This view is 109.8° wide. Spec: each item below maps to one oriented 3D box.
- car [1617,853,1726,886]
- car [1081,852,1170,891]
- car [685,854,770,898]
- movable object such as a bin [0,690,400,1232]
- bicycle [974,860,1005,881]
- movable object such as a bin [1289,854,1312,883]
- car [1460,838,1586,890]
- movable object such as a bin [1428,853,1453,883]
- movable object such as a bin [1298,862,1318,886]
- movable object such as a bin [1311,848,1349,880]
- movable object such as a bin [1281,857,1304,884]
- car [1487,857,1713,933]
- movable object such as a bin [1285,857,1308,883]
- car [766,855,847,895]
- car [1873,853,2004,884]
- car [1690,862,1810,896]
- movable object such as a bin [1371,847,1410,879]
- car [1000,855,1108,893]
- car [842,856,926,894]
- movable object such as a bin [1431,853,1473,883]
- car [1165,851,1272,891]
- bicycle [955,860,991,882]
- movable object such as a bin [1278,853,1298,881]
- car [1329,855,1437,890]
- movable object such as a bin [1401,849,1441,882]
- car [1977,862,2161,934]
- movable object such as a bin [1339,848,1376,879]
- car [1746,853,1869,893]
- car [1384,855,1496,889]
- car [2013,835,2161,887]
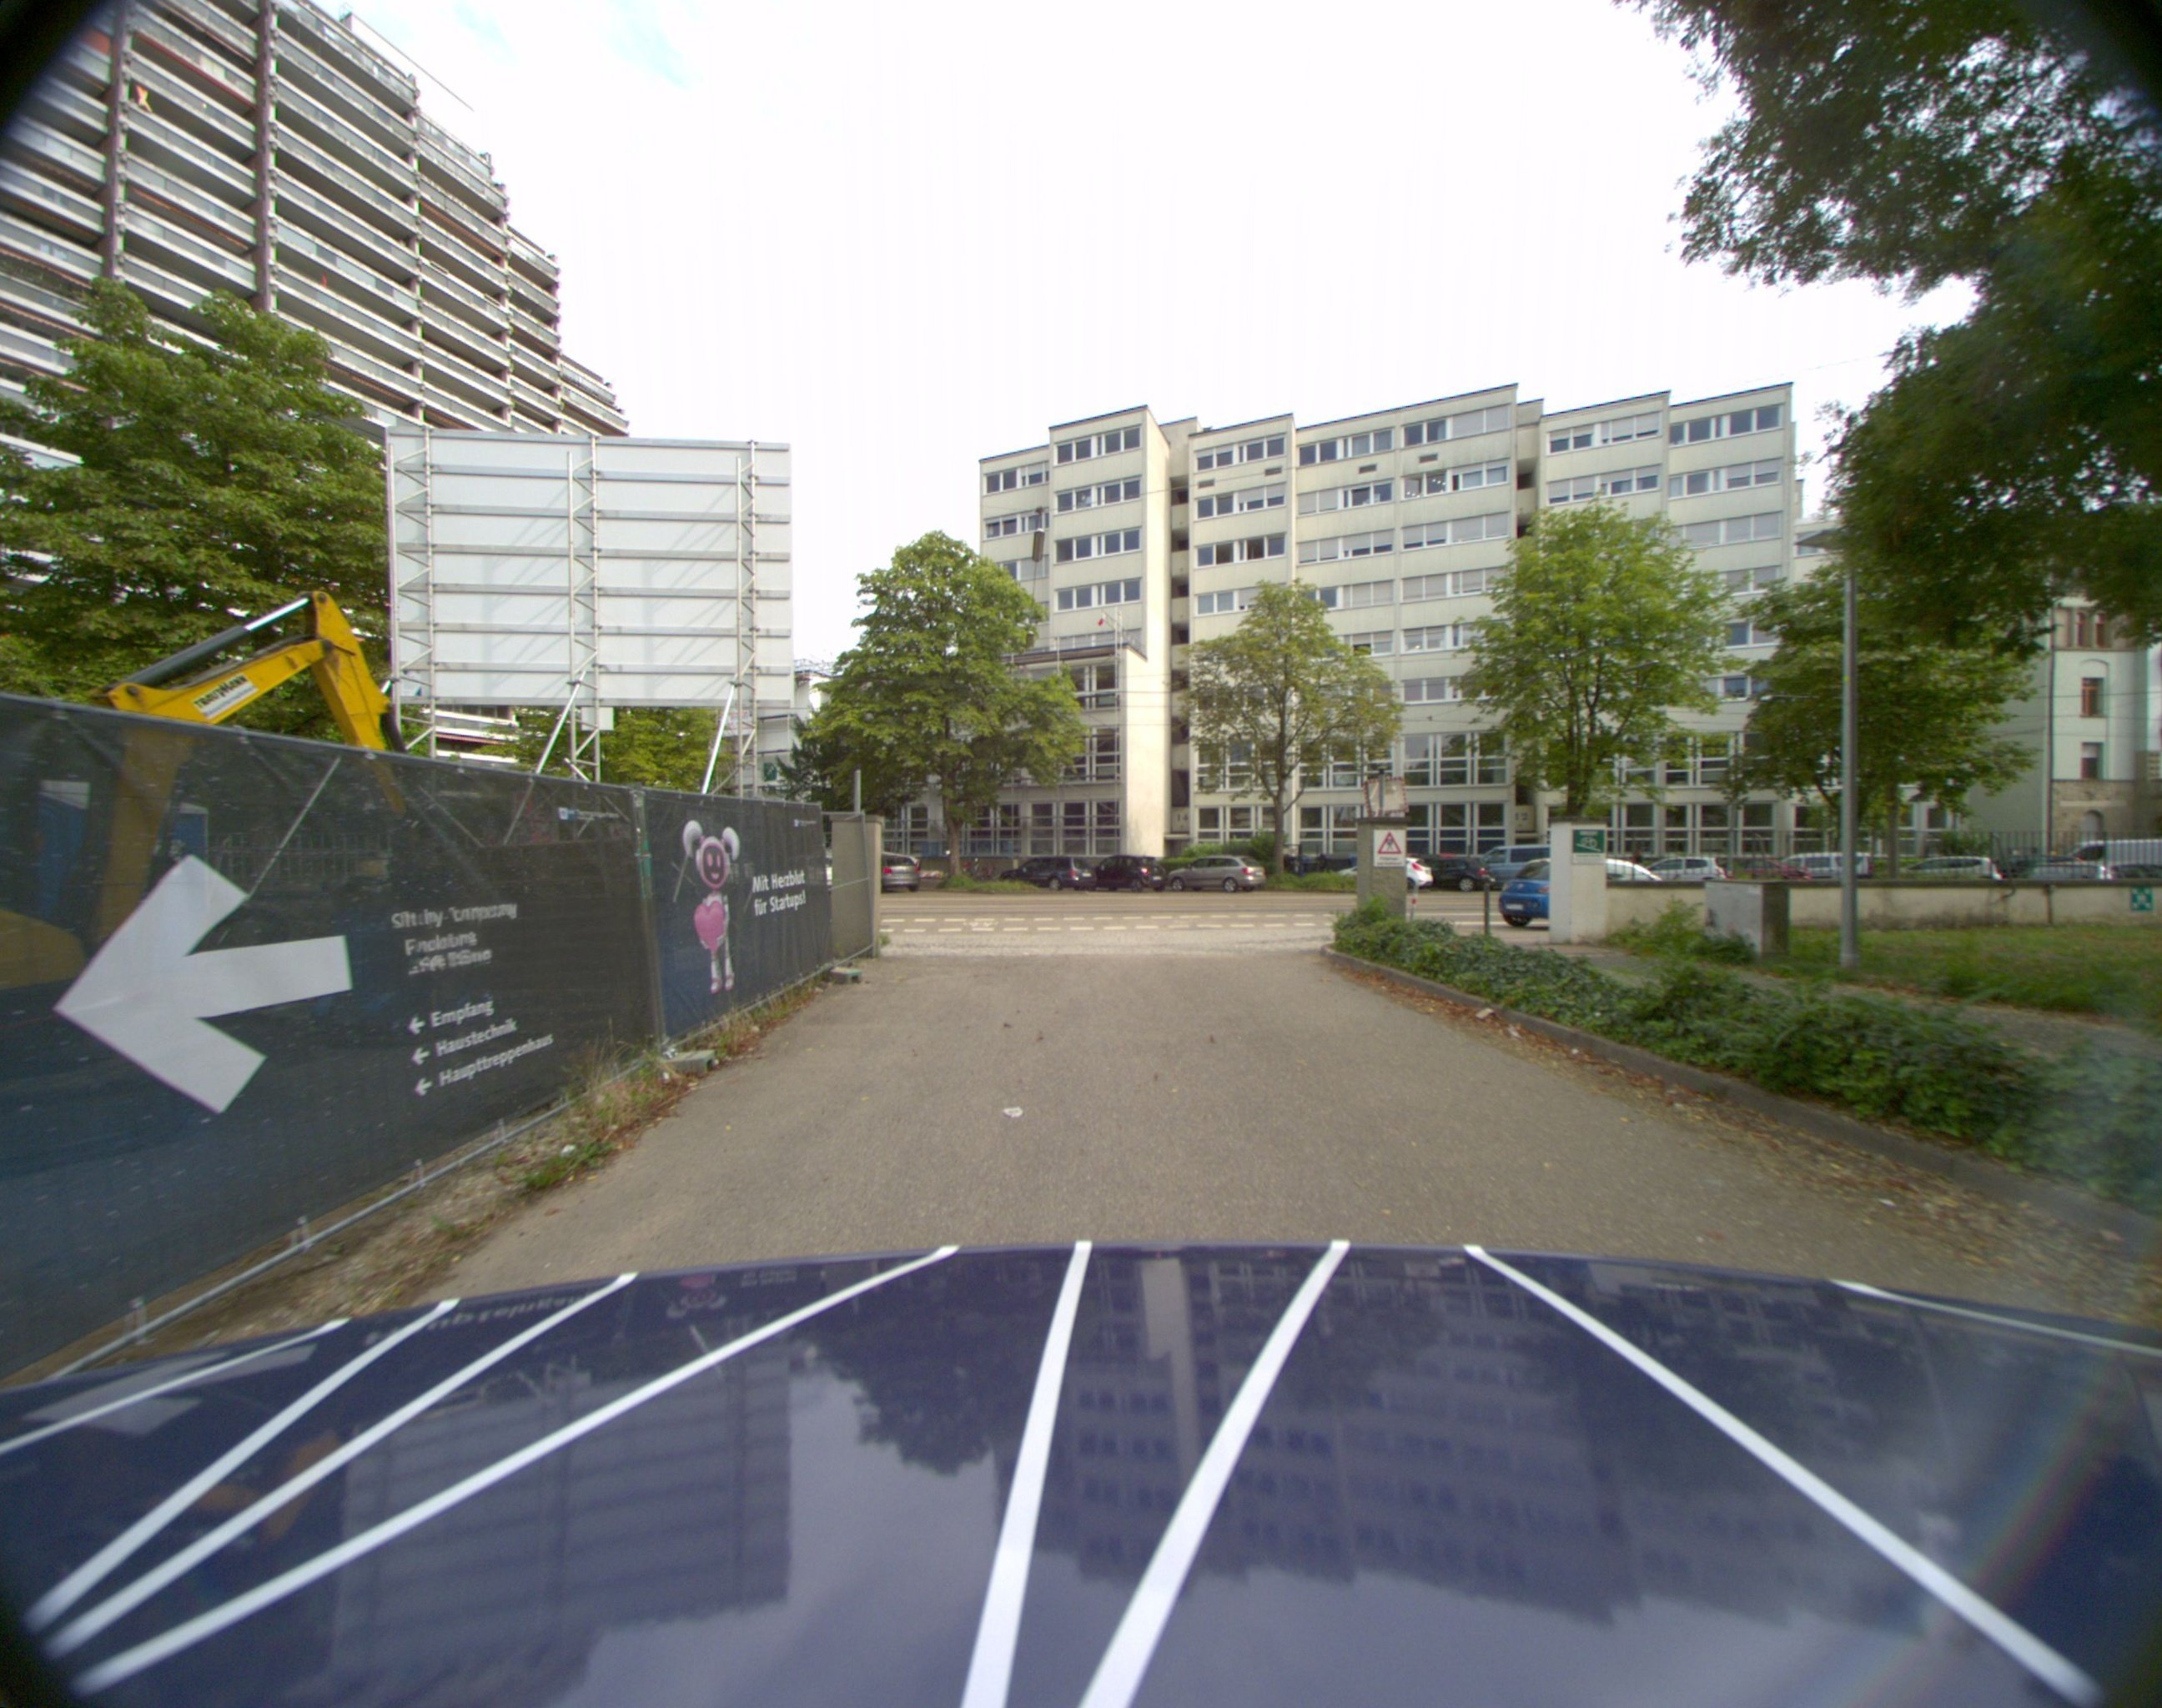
[{"bbox_3d":[25.376,0.644,32.691,3.634,1.322,1.771,0,0,40],"label":"car"},{"bbox_3d":[1.810,0.697,31.292,3.407,1.528,1.599,0,0,43],"label":"car"},{"bbox_3d":[-13.960,0.819,29.944,3.636,1.593,1.686,0,1,41],"label":"car"},{"bbox_3d":[-6.060,0.491,3.768,2.494,2.429,3.062,-1,0,6],"label":"movable object such as a bin"},{"bbox_3d":[-4.483,0.799,37.491,0.593,1.037,1.981,0,0,24],"label":"bicycle"},{"bbox_3d":[12.142,0.801,42.013,1.177,1.559,1.176,0,0,17],"label":"movable object such as a bin"},{"bbox_3d":[18.647,0.395,32.165,4.333,2.052,2.004,0,0,40],"label":"car"},{"bbox_3d":[18.762,0.713,39.698,1.172,1.559,1.182,0,0,24],"label":"movable object such as a bin"},{"bbox_3d":[10.950,0.957,36.607,0.742,1.099,0.786,0,0,2],"label":"movable object such as a bin"},{"bbox_3d":[12.109,0.470,36.991,1.414,1.520,1.330,0,0,0],"label":"movable object such as a bin"},{"bbox_3d":[11.025,0.850,39.536,1.116,1.383,1.065,0,0,17],"label":"movable object such as a bin"},{"bbox_3d":[10.528,0.797,15.545,3.601,1.456,1.632,0,0,-5],"label":"car"},{"bbox_3d":[11.570,0.851,40.760,1.177,1.362,1.176,0,0,17],"label":"movable object such as a bin"},{"bbox_3d":[-10.958,0.805,30.229,1.685,1.466,3.636,-1,0,-43],"label":"car"},{"bbox_3d":[37.999,0.624,33.806,3.634,1.322,1.771,0,0,40],"label":"car"},{"bbox_3d":[28.622,1.044,32.566,3.759,1.331,1.818,0,0,44],"label":"car"},{"bbox_3d":[15.142,0.432,37.181,1.353,1.493,1.335,0,0,0],"label":"movable object such as a bin"},{"bbox_3d":[-1.148,0.776,30.912,4.158,1.407,1.820,0,0,37],"label":"car"},{"bbox_3d":[-7.903,0.786,30.336,1.685,1.411,3.636,-1,0,-43],"label":"car"},{"bbox_3d":[18.168,0.675,37.272,1.399,1.450,1.335,0,0,0],"label":"movable object such as a bin"},{"bbox_3d":[5.588,0.668,31.201,4.041,1.528,1.599,0,0,40],"label":"car"},{"bbox_3d":[-5.347,0.820,37.758,0.593,1.037,1.982,0,0,33],"label":"bicycle"},{"bbox_3d":[10.442,0.663,38.332,0.910,1.398,1.025,0,0,17],"label":"movable object such as a bin"},{"bbox_3d":[12.509,0.722,31.573,3.850,1.385,1.637,0,0,40],"label":"car"},{"bbox_3d":[16.621,0.556,37.184,1.353,1.586,1.335,0,0,0],"label":"movable object such as a bin"},{"bbox_3d":[22.187,0.922,16.581,3.573,1.456,1.632,0,0,-5],"label":"car"},{"bbox_3d":[13.538,0.447,37.239,1.337,1.495,1.335,0,0,0],"label":"movable object such as a bin"},{"bbox_3d":[31.435,0.790,32.972,3.759,1.609,1.818,0,1,44],"label":"car"},{"bbox_3d":[15.191,0.758,32.272,3.961,1.379,1.819,0,-1,40],"label":"car"},{"bbox_3d":[45.616,0.293,33.554,5.423,2.163,2.153,0,1,44],"label":"car"}]
